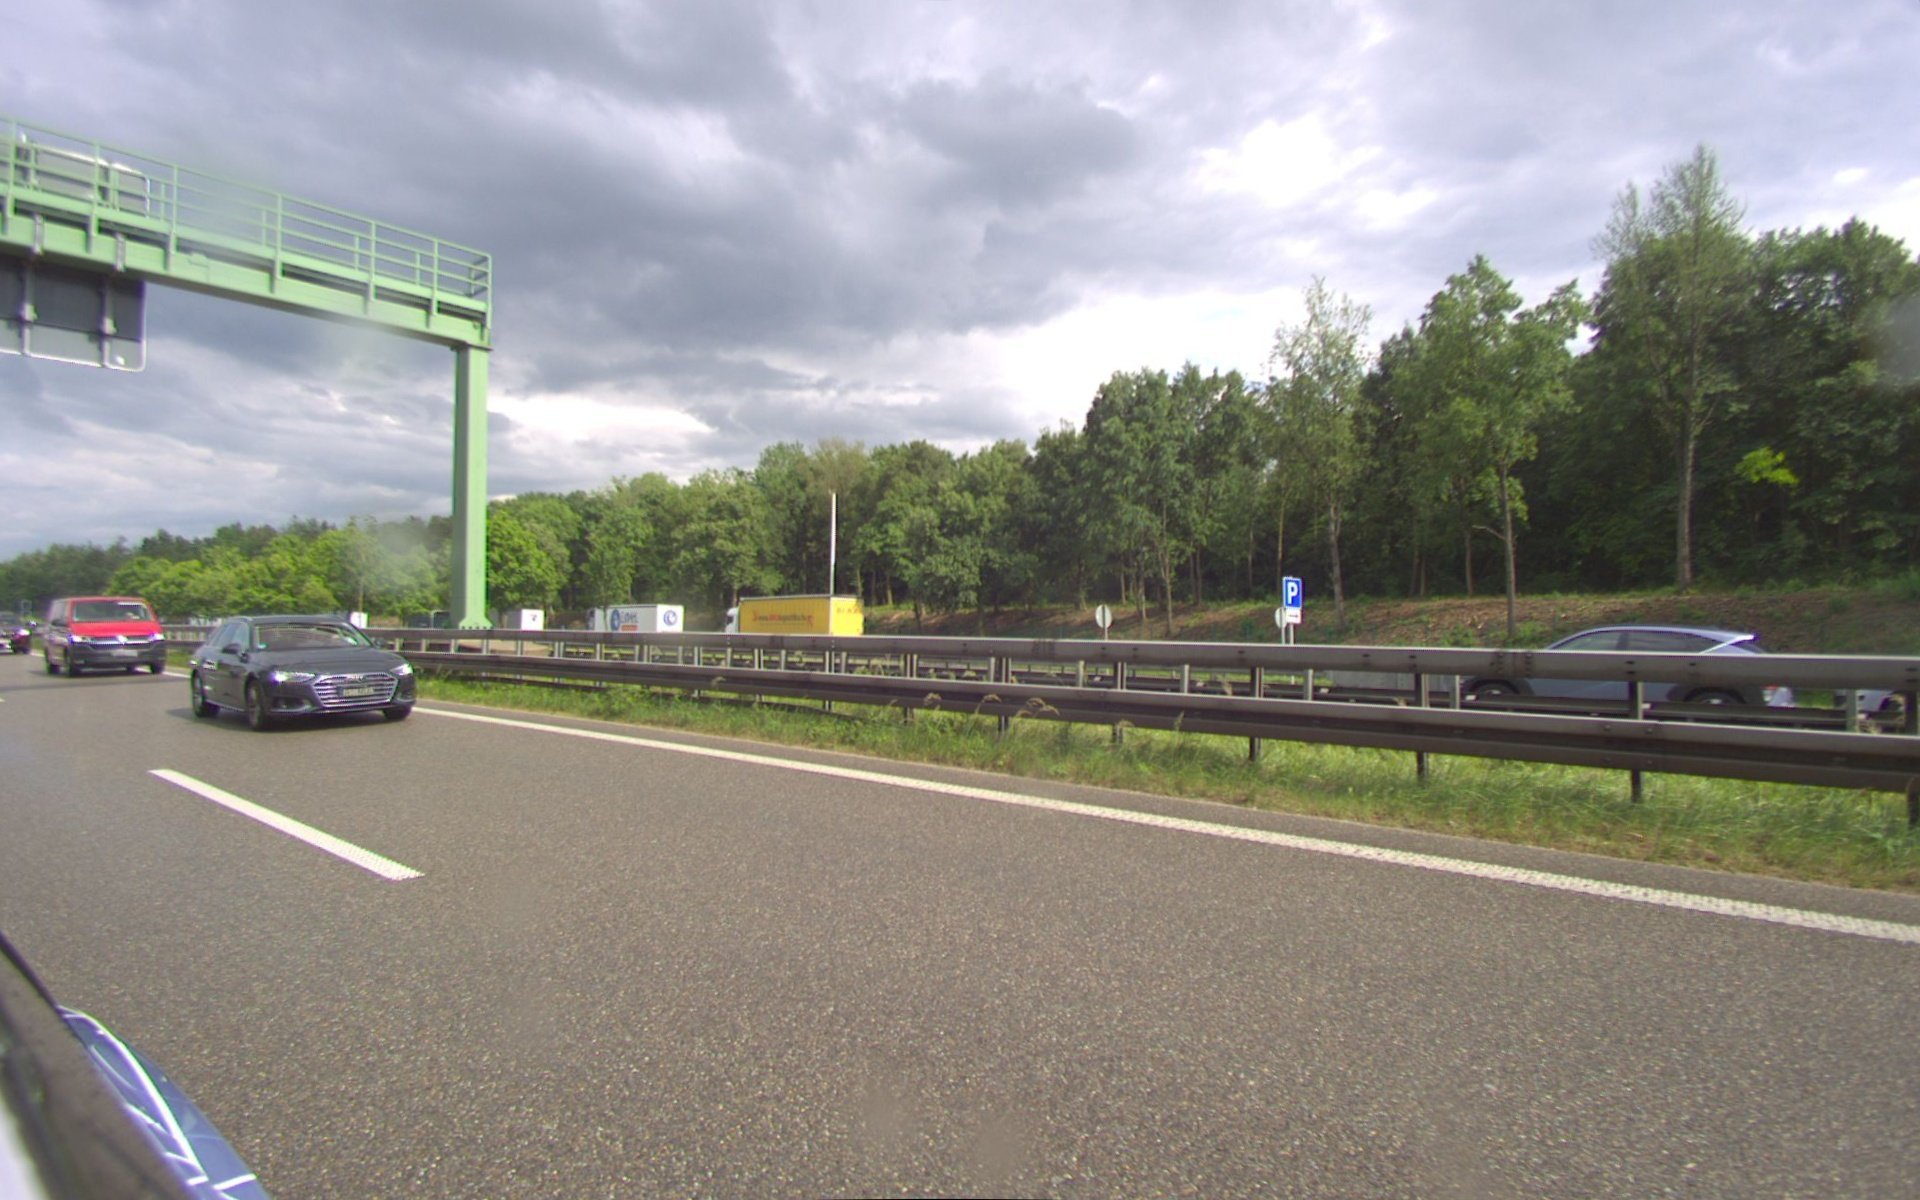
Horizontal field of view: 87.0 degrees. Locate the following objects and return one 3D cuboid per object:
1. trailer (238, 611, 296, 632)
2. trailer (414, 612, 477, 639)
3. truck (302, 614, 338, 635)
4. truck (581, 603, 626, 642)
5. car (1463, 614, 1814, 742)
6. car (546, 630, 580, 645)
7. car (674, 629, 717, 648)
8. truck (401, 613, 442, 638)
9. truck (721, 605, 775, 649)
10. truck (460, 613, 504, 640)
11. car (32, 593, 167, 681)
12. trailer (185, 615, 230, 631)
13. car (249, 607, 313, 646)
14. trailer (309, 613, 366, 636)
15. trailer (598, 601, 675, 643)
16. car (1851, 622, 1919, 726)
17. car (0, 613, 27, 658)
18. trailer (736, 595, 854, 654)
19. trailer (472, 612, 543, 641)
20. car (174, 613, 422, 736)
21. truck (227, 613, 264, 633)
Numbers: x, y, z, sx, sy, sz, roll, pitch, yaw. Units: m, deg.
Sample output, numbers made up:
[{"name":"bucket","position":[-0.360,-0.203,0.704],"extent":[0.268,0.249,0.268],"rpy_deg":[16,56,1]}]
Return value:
[{"name":"trailer","position":[-113.967,3.553,166.302],"extent":[13.375,3.296,3.050],"rpy_deg":[-1,-2,34]},{"name":"trailer","position":[-66.380,3.297,130.355],"extent":[12.640,3.296,2.577],"rpy_deg":[-1,-3,41]},{"name":"truck","position":[-98.863,3.777,156.293],"extent":[5.385,3.280,3.142],"rpy_deg":[-1,-3,39]},{"name":"truck","position":[-34.805,2.200,98.771],"extent":[2.136,3.648,5.585],"rpy_deg":[2,-2,-42]},{"name":"car","position":[9.683,1.022,14.606],"extent":[3.997,1.592,1.902],"rpy_deg":[-1,-2,41]},{"name":"car","position":[-41.911,3.970,106.916],"extent":[4.002,1.514,1.873],"rpy_deg":[-1,-2,45]},{"name":"car","position":[-22.055,3.198,84.339],"extent":[1.871,1.514,4.005],"rpy_deg":[2,-2,-41]},{"name":"truck","position":[-71.881,3.385,135.099],"extent":[6.532,3.275,2.549],"rpy_deg":[-1,-2,41]},{"name":"truck","position":[-15.940,1.957,75.806],"extent":[1.950,3.121,5.087],"rpy_deg":[-1,0,-37]},{"name":"truck","position":[-57.937,3.185,122.636],"extent":[5.596,3.208,3.009],"rpy_deg":[-1,-2,43]},{"name":"car","position":[-21.612,0.885,25.344],"extent":[4.747,2.000,1.871],"rpy_deg":[-1,-1,41]},{"name":"trailer","position":[-131.775,4.023,177.179],"extent":[9.839,2.594,2.512],"rpy_deg":[-1,-1,30]},{"name":"car","position":[-37.995,1.513,56.601],"extent":[3.994,2.029,1.814],"rpy_deg":[-3,-1,38]},{"name":"trailer","position":[-93.597,3.687,152.108],"extent":[12.631,3.296,3.153],"rpy_deg":[-1,-2,38]},{"name":"trailer","position":[-29.943,2.055,93.315],"extent":[2.156,3.627,11.734],"rpy_deg":[2,-2,-41]},{"name":"car","position":[15.490,1.079,14.687],"extent":[3.784,1.493,1.614],"rpy_deg":[-1,-1,41]},{"name":"car","position":[-38.123,1.366,39.599],"extent":[4.292,1.682,1.871],"rpy_deg":[-1,-1,41]},{"name":"trailer","position":[-11.733,1.610,70.244],"extent":[1.967,3.722,13.688],"rpy_deg":[0,0,-37]},{"name":"trailer","position":[-52.824,3.073,117.927],"extent":[12.173,3.217,2.987],"rpy_deg":[-1,-2,43]},{"name":"car","position":[-9.222,0.911,13.942],"extent":[4.465,1.422,1.701],"rpy_deg":[-1,-1,41]},{"name":"truck","position":[-120.717,3.892,170.900],"extent":[6.081,3.280,3.047],"rpy_deg":[0,-3,34]}]
